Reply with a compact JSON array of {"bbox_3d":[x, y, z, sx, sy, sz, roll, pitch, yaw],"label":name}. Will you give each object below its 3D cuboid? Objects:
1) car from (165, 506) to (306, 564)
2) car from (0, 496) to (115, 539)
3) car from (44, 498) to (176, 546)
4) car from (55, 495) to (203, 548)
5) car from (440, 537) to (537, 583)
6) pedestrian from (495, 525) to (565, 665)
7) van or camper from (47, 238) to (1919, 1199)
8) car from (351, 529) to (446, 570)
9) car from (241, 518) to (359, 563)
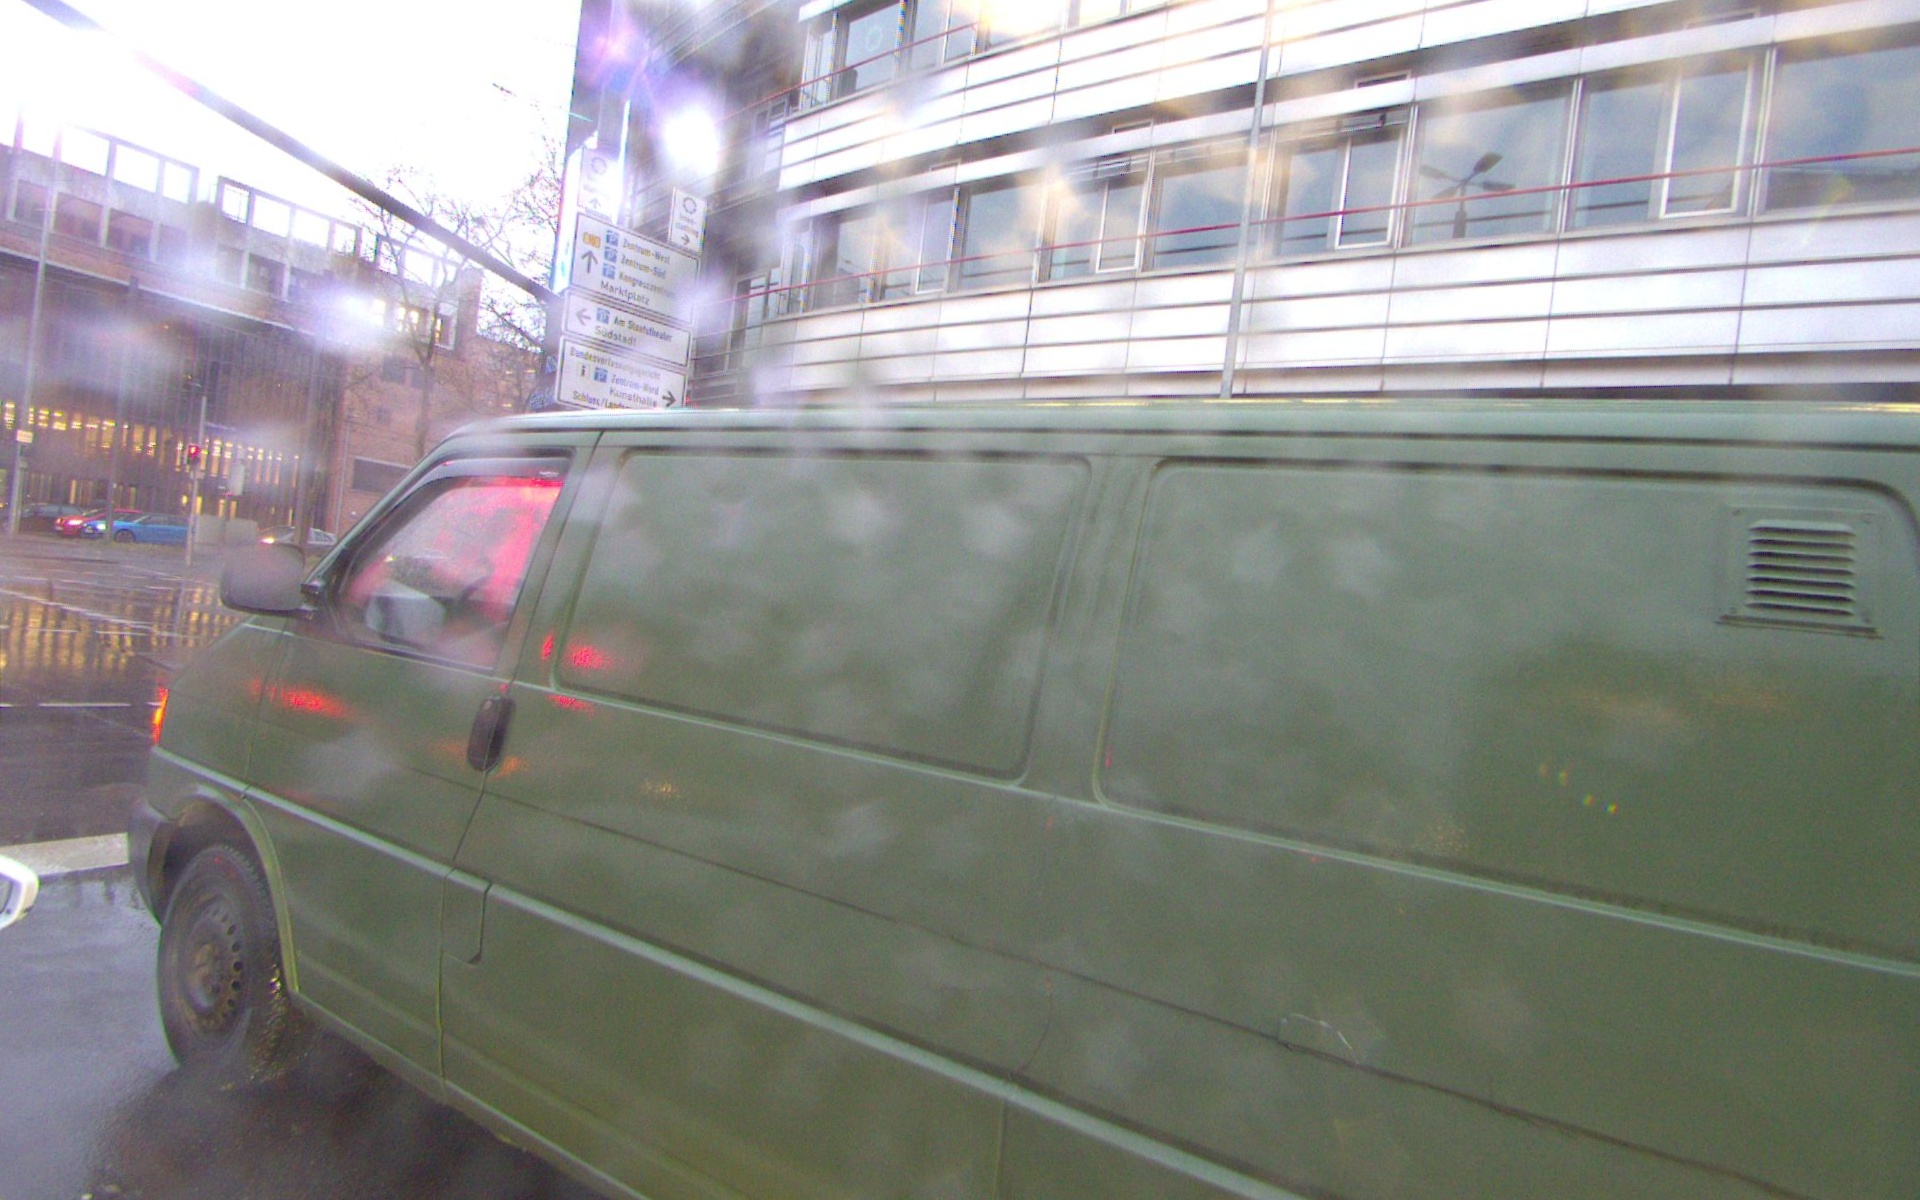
[{"bbox_3d":[-28.309,-2.508,39.447,1.814,1.523,3.997,11,1,26],"label":"car"},{"bbox_3d":[-39.216,-3.562,43.214,1.965,1.326,3.994,7,0,28],"label":"car"},{"bbox_3d":[-35.489,-3.248,42.106,1.814,1.278,3.729,11,1,26],"label":"car"},{"bbox_3d":[-32.446,-3.032,39.388,1.814,1.278,3.997,11,1,26],"label":"car"},{"bbox_3d":[-23.569,-1.977,50.412,1.814,1.621,3.997,11,1,26],"label":"car"},{"bbox_3d":[-7.061,-0.081,16.524,0.609,2.210,0.576,6,0,26],"label":"pedestrian"},{"bbox_3d":[-0.337,0.529,2.631,4.345,1.929,1.760,7,-1,32],"label":"van or camper"},{"bbox_3d":[-30.174,-2.693,54.136,1.814,1.523,3.997,11,1,26],"label":"car"},{"bbox_3d":[-29.642,-2.656,45.310,1.814,1.304,3.997,11,1,26],"label":"car"}]
